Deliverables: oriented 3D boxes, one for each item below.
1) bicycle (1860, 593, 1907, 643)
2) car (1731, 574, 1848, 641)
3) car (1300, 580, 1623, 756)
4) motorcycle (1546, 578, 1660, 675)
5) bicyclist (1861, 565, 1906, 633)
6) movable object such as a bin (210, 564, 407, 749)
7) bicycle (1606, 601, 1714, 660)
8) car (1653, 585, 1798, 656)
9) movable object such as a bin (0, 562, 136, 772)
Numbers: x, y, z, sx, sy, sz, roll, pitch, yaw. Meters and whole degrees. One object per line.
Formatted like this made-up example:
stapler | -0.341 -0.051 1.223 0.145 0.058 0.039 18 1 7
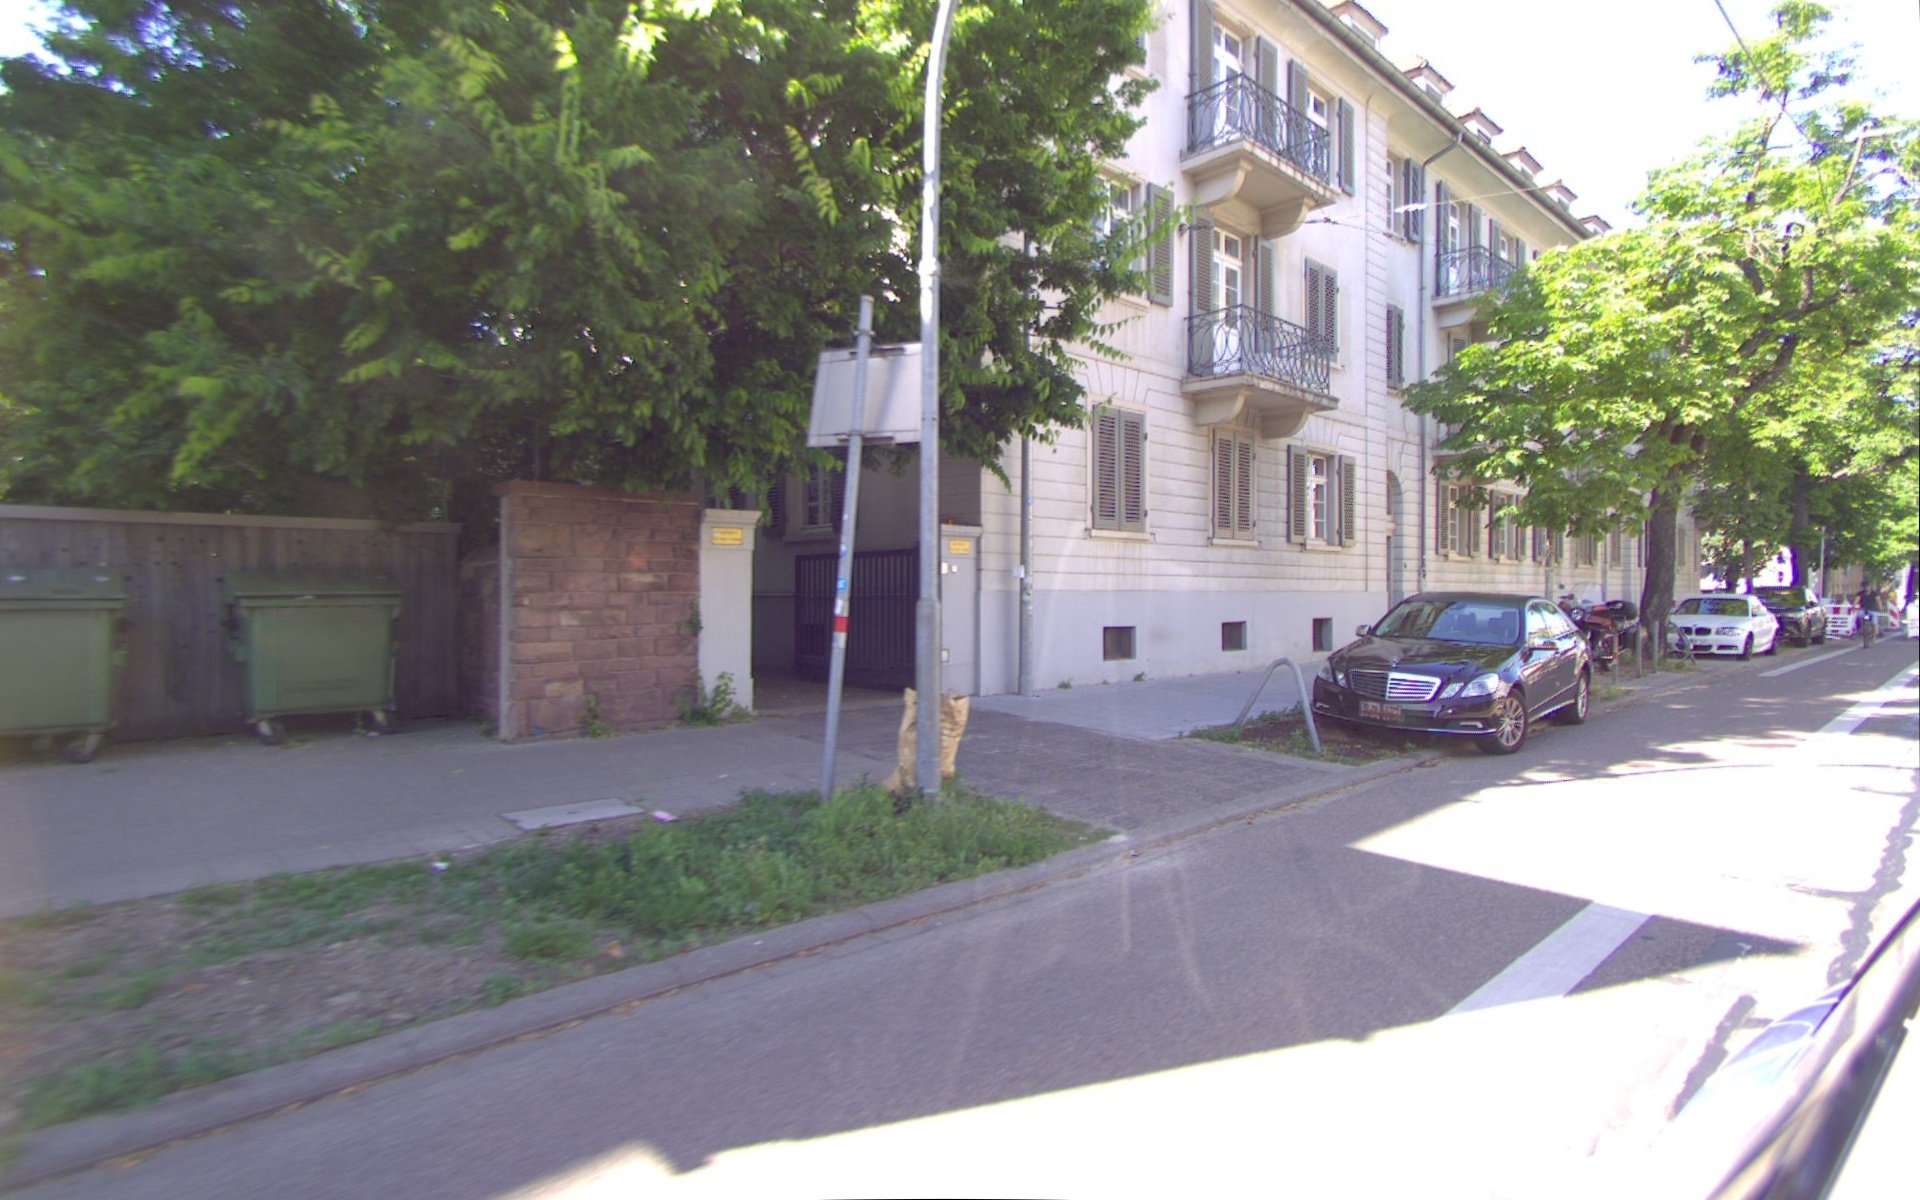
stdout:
bicycle | 24.762 0.468 27.124 2.061 1.258 0.762 -1 -1 -43
car | 22.878 0.142 27.849 4.506 1.646 1.813 -1 3 -42
car | 5.625 0.537 11.012 1.822 1.476 4.743 2 2 43
motorcycle | 10.932 0.392 17.161 2.633 1.507 0.915 -1 2 -42
bicyclist | 24.761 -0.028 27.138 1.029 1.761 0.762 0 -1 -43
movable object such as a bin | -5.721 0.439 8.901 1.309 1.482 0.934 -1 0 -44
bicycle | 13.750 0.577 19.918 0.674 1.056 1.622 -1 2 -41
car | 17.098 0.380 22.537 4.280 1.399 1.727 -1 2 -41
movable object such as a bin | -7.034 0.472 7.567 1.331 1.482 0.935 -1 0 -41
